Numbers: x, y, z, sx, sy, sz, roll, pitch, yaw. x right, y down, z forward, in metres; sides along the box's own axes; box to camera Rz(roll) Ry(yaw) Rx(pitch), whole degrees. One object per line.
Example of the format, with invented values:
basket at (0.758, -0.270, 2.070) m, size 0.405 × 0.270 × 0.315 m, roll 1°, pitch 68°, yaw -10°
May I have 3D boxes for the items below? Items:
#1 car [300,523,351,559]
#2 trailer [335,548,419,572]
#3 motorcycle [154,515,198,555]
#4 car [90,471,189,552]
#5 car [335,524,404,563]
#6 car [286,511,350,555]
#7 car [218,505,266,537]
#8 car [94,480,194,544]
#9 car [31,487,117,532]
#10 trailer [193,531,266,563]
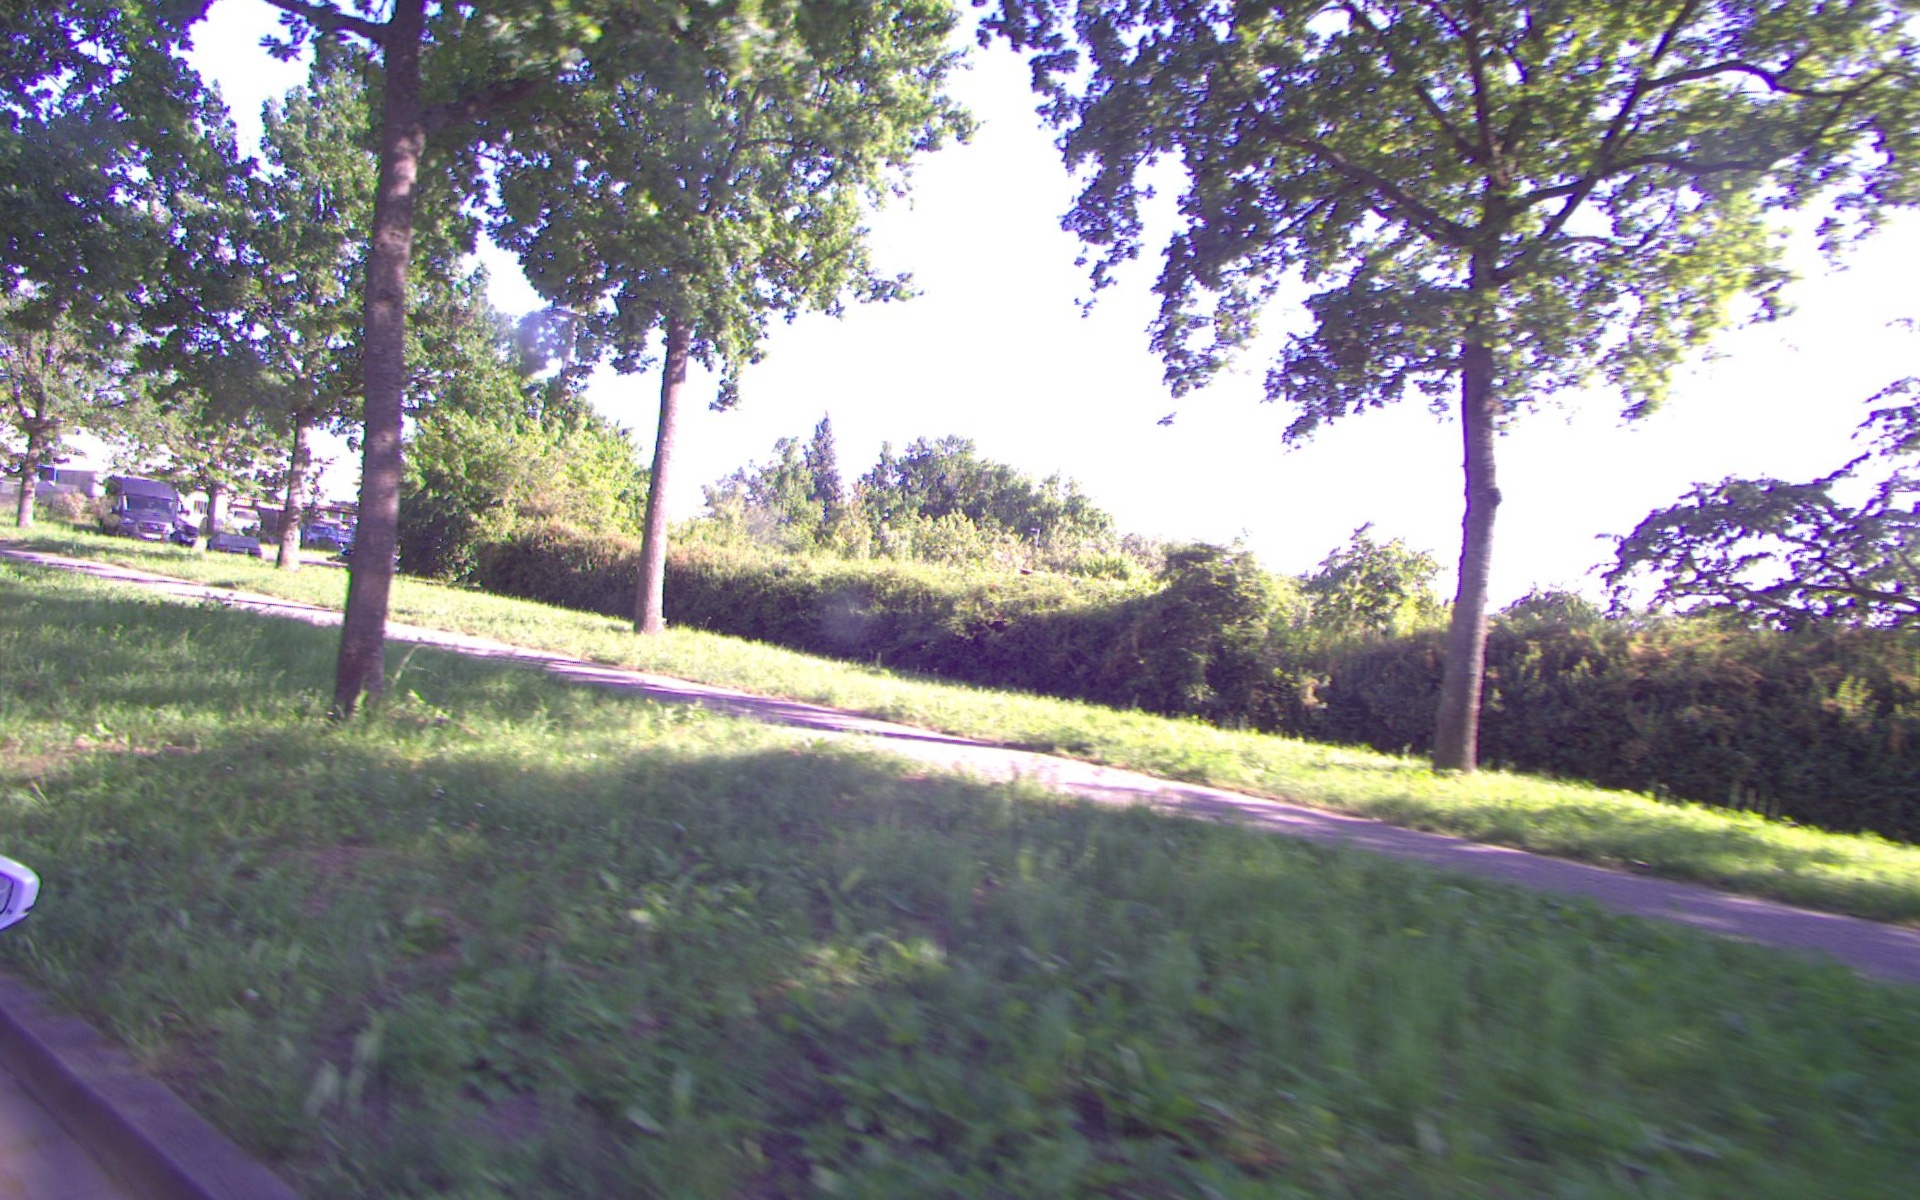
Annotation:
car at (-35.636, -3.327, 56.455) m, size 1.827 × 1.660 × 3.955 m, roll 7°, pitch 0°, yaw -40°
trailer at (-29.110, -2.005, 50.198) m, size 4.755 × 0.659 × 2.225 m, roll 7°, pitch 0°, yaw 42°
motorcycle at (-27.156, -2.237, 34.831) m, size 2.374 × 1.245 × 0.662 m, roll 1°, pitch -3°, yaw 41°
car at (-34.479, -3.746, 42.204) m, size 5.885 × 2.597 × 2.083 m, roll 10°, pitch 1°, yaw 41°
car at (-34.666, -3.330, 59.026) m, size 3.939 × 1.846 × 1.993 m, roll 7°, pitch 0°, yaw 37°
car at (-42.249, -4.415, 66.134) m, size 4.941 × 2.087 × 2.083 m, roll 10°, pitch 1°, yaw 41°
car at (-44.783, -4.933, 62.723) m, size 1.829 × 1.660 × 3.951 m, roll 6°, pitch 0°, yaw -43°
car at (-41.446, -4.484, 51.072) m, size 4.768 × 2.676 × 2.164 m, roll 7°, pitch 1°, yaw 29°
car at (-43.238, -4.403, 49.089) m, size 3.535 × 1.685 × 2.009 m, roll 7°, pitch 0°, yaw 29°
trailer at (-25.134, -1.791, 34.598) m, size 2.027 × 0.878 × 1.576 m, roll 1°, pitch -4°, yaw 41°
